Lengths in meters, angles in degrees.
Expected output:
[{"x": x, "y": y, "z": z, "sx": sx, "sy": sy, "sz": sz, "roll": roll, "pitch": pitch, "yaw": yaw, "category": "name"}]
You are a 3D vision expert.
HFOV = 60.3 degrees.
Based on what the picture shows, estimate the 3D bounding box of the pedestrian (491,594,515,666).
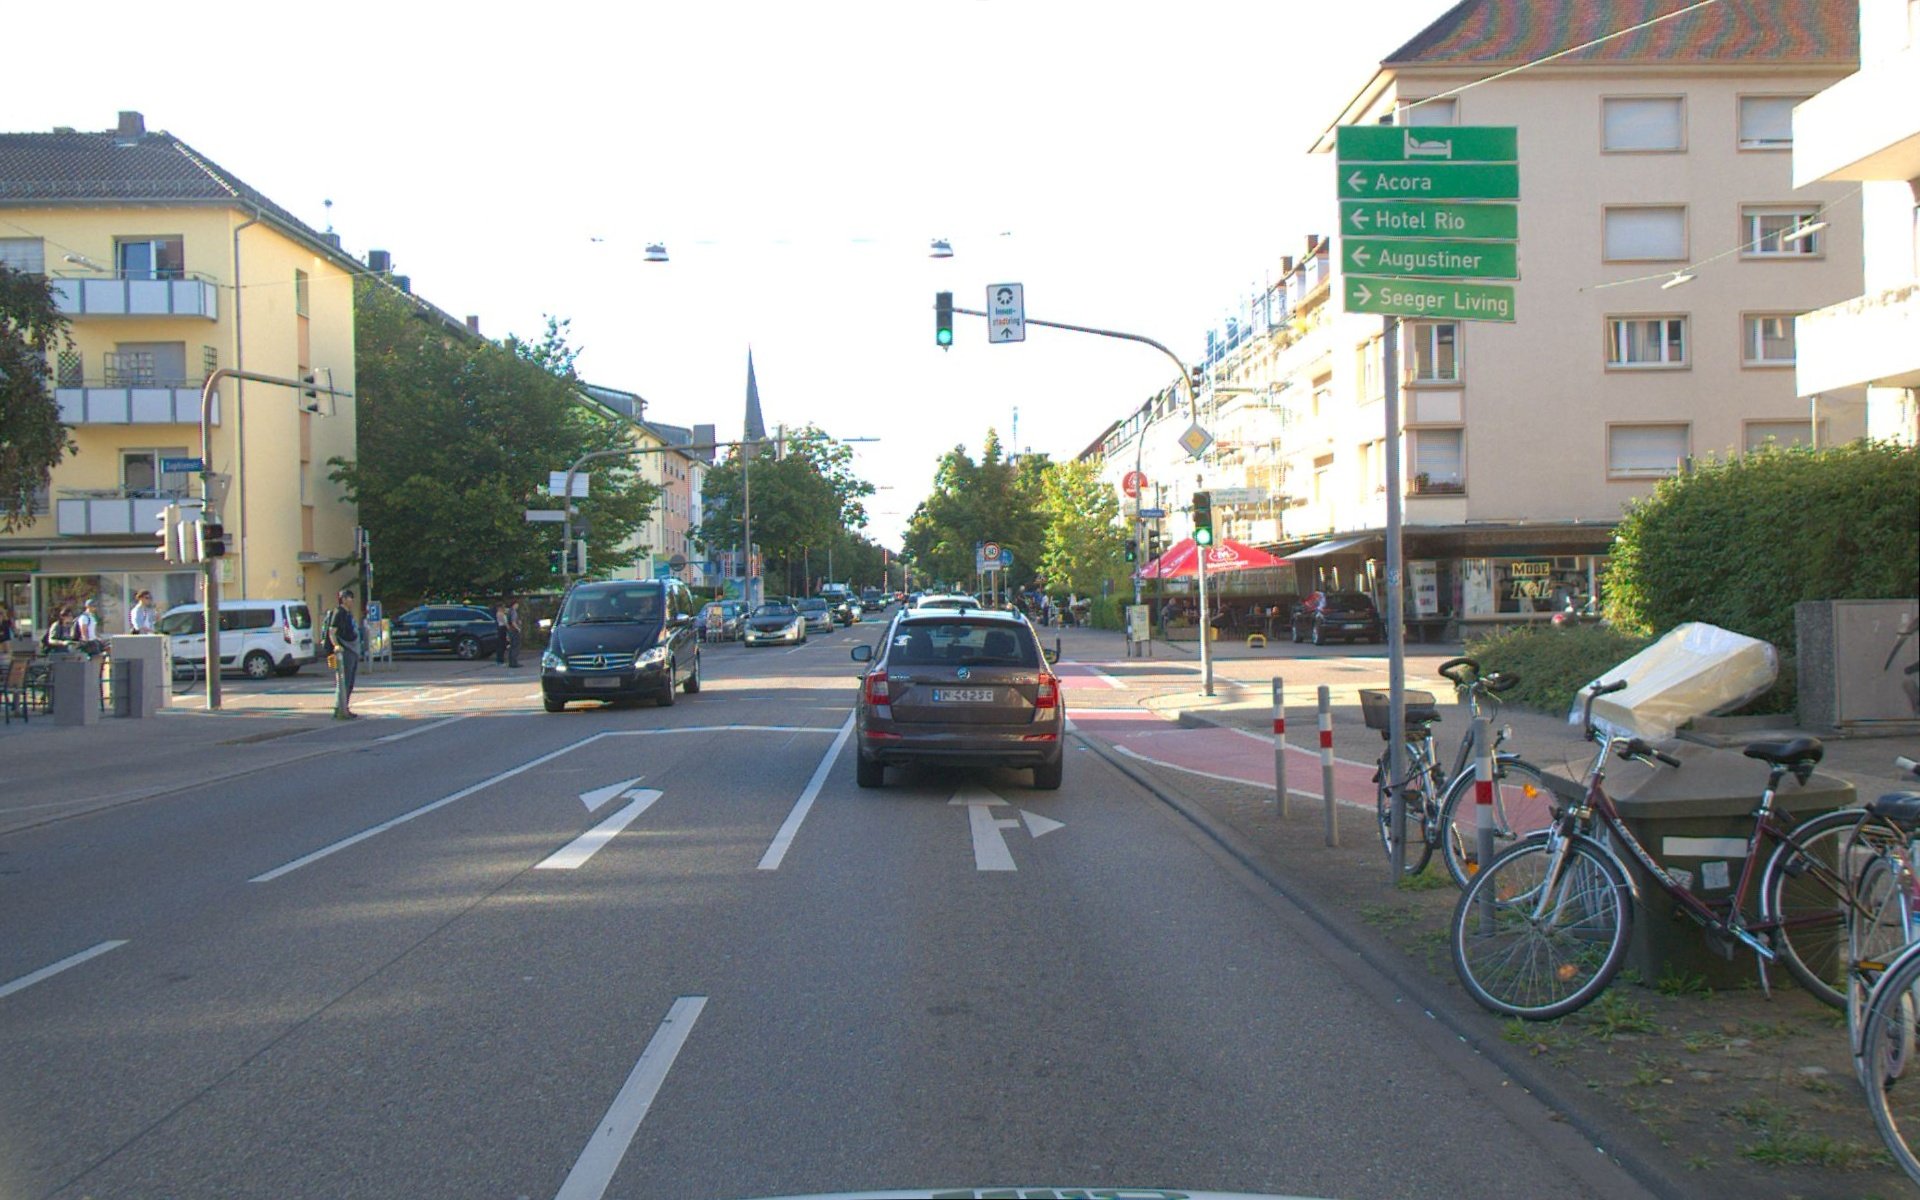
[{"x": -11.802, "y": 0.764, "z": 42.752, "sx": 0.440, "sy": 1.828, "sz": 0.504, "roll": -2, "pitch": 0, "yaw": -1, "category": "pedestrian"}]

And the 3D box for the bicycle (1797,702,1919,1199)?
[{"x": 2.706, "y": 0.873, "z": 4.576, "sx": 0.606, "sy": 1.069, "sz": 1.573, "roll": -1, "pitch": 0, "yaw": 24, "category": "bicycle"}]

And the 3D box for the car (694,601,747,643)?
[{"x": -8.882, "y": 0.790, "z": 61.478, "sx": 1.492, "sy": 1.482, "sz": 3.584, "roll": -1, "pitch": 0, "yaw": -1, "category": "car"}]

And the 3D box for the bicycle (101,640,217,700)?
[{"x": -15.479, "y": 1.346, "z": 31.993, "sx": 1.866, "sy": 1.090, "sz": 0.717, "roll": -1, "pitch": 0, "yaw": -11, "category": "bicycle"}]

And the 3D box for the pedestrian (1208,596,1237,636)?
[{"x": 8.121, "y": 0.494, "z": 51.166, "sx": 0.714, "sy": 1.219, "sz": 0.855, "roll": -1, "pitch": 0, "yaw": -1, "category": "pedestrian"}]

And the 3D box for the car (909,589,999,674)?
[{"x": -0.133, "y": 0.592, "z": 33.479, "sx": 1.701, "sy": 1.598, "sz": 3.999, "roll": 1, "pitch": 0, "yaw": -1, "category": "car"}]

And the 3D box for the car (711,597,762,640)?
[{"x": -9.009, "y": 0.737, "z": 66.981, "sx": 1.528, "sy": 1.646, "sz": 3.999, "roll": -1, "pitch": 0, "yaw": -1, "category": "car"}]

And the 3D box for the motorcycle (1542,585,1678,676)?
[{"x": 10.375, "y": 0.486, "z": 26.436, "sx": 1.874, "sy": 1.385, "sz": 0.694, "roll": -1, "pitch": 0, "yaw": 3, "category": "motorcycle"}]

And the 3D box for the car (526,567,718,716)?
[{"x": -5.027, "y": 0.571, "z": 25.310, "sx": 1.954, "sy": 1.942, "sz": 4.962, "roll": -3, "pitch": 0, "yaw": -2, "category": "car"}]

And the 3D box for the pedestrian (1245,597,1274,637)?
[{"x": 9.320, "y": 0.523, "z": 51.467, "sx": 0.714, "sy": 1.219, "sz": 0.855, "roll": -1, "pitch": 0, "yaw": -1, "category": "pedestrian"}]

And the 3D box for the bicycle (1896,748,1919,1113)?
[{"x": 2.746, "y": 0.812, "z": 3.052, "sx": 1.651, "sy": 1.126, "sz": 0.517, "roll": -4, "pitch": 0, "yaw": 5, "category": "bicycle"}]

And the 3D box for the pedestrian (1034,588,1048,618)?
[{"x": 4.324, "y": 0.149, "z": 88.266, "sx": 0.567, "sy": 1.590, "sz": 0.518, "roll": -1, "pitch": 0, "yaw": -11, "category": "pedestrian"}]

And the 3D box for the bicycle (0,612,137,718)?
[{"x": -15.364, "y": 1.098, "z": 28.435, "sx": 1.982, "sy": 1.736, "sz": 0.756, "roll": -1, "pitch": 0, "yaw": -4, "category": "bicycle"}]

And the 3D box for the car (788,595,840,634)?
[{"x": -6.406, "y": 0.614, "z": 72.793, "sx": 1.953, "sy": 1.639, "sz": 3.999, "roll": -1, "pitch": 0, "yaw": -1, "category": "car"}]

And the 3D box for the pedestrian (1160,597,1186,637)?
[{"x": 6.551, "y": 0.518, "z": 50.978, "sx": 0.664, "sy": 1.219, "sz": 0.855, "roll": -1, "pitch": 0, "yaw": -1, "category": "pedestrian"}]

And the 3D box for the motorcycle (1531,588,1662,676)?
[{"x": 10.501, "y": 0.518, "z": 27.331, "sx": 1.874, "sy": 1.385, "sz": 0.694, "roll": -1, "pitch": 0, "yaw": 3, "category": "motorcycle"}]

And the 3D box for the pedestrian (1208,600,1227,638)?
[{"x": 8.119, "y": 0.590, "z": 52.169, "sx": 0.495, "sy": 1.197, "sz": 0.428, "roll": -1, "pitch": 0, "yaw": -2, "category": "pedestrian"}]

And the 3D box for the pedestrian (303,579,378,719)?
[{"x": -9.229, "y": 0.721, "z": 24.672, "sx": 0.764, "sy": 2.022, "sz": 0.821, "roll": -2, "pitch": 0, "yaw": -1, "category": "pedestrian"}]

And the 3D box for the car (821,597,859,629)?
[{"x": -6.250, "y": 0.645, "z": 86.393, "sx": 1.751, "sy": 1.598, "sz": 3.999, "roll": 1, "pitch": 0, "yaw": -1, "category": "car"}]

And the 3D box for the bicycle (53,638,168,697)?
[{"x": -16.835, "y": 1.329, "z": 32.812, "sx": 1.866, "sy": 1.090, "sz": 0.717, "roll": -1, "pitch": 0, "yaw": -11, "category": "bicycle"}]

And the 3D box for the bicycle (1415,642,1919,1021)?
[{"x": 2.666, "y": 0.810, "z": 6.009, "sx": 1.796, "sy": 1.177, "sz": 0.683, "roll": -4, "pitch": 0, "yaw": 5, "category": "bicycle"}]

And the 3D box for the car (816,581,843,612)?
[{"x": -10.859, "y": -0.303, "z": 138.038, "sx": 1.953, "sy": 2.521, "sz": 3.999, "roll": -1, "pitch": 0, "yaw": -2, "category": "car"}]

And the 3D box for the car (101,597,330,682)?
[{"x": -17.573, "y": 0.918, "z": 39.186, "sx": 4.541, "sy": 1.843, "sz": 1.861, "roll": -1, "pitch": 0, "yaw": -2, "category": "car"}]

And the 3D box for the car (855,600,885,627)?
[{"x": -5.511, "y": 0.807, "z": 101.731, "sx": 1.669, "sy": 1.577, "sz": 4.001, "roll": -1, "pitch": 0, "yaw": -1, "category": "car"}]

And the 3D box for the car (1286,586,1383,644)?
[{"x": 10.402, "y": 0.398, "z": 46.167, "sx": 1.740, "sy": 1.512, "sz": 3.999, "roll": -1, "pitch": 0, "yaw": -1, "category": "car"}]

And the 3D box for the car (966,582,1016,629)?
[{"x": 1.249, "y": 0.206, "z": 66.040, "sx": 1.952, "sy": 1.803, "sz": 4.001, "roll": 1, "pitch": 0, "yaw": 1, "category": "car"}]

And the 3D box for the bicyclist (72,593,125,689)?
[{"x": -17.064, "y": 0.801, "z": 32.768, "sx": 0.725, "sy": 1.855, "sz": 0.652, "roll": -1, "pitch": 0, "yaw": -10, "category": "bicyclist"}]

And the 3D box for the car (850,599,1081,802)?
[{"x": -0.027, "y": 0.750, "z": 14.594, "sx": 1.737, "sy": 1.515, "sz": 4.309, "roll": 0, "pitch": 0, "yaw": -2, "category": "car"}]

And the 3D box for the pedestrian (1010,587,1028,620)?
[{"x": 3.156, "y": 0.183, "z": 87.924, "sx": 0.661, "sy": 1.734, "sz": 0.800, "roll": -1, "pitch": 0, "yaw": 25, "category": "pedestrian"}]

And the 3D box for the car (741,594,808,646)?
[{"x": -6.088, "y": 0.629, "z": 54.640, "sx": 1.793, "sy": 1.607, "sz": 3.999, "roll": -2, "pitch": 0, "yaw": -1, "category": "car"}]

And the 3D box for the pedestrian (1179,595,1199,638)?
[{"x": 7.176, "y": 0.509, "z": 51.861, "sx": 0.489, "sy": 1.325, "sz": 0.506, "roll": -1, "pitch": 0, "yaw": -4, "category": "pedestrian"}]

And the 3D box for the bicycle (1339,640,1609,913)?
[{"x": 2.554, "y": 0.821, "z": 8.465, "sx": 0.492, "sy": 1.167, "sz": 1.956, "roll": -4, "pitch": 0, "yaw": -7, "category": "bicycle"}]

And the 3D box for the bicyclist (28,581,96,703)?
[{"x": -15.463, "y": 0.714, "z": 28.501, "sx": 0.711, "sy": 2.049, "sz": 0.843, "roll": -1, "pitch": 0, "yaw": -4, "category": "bicyclist"}]

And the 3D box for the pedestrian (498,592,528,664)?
[{"x": -11.446, "y": 0.713, "z": 42.364, "sx": 0.603, "sy": 1.828, "sz": 0.504, "roll": -2, "pitch": 0, "yaw": -1, "category": "pedestrian"}]

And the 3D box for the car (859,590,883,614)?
[{"x": -7.899, "y": 0.161, "z": 147.392, "sx": 1.953, "sy": 2.049, "sz": 3.999, "roll": -1, "pitch": 0, "yaw": -1, "category": "car"}]

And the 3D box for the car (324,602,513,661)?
[{"x": -14.771, "y": 0.849, "z": 45.283, "sx": 4.540, "sy": 1.562, "sz": 1.861, "roll": 0, "pitch": 0, "yaw": -2, "category": "car"}]

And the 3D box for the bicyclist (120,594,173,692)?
[{"x": -15.698, "y": 0.818, "z": 31.927, "sx": 0.725, "sy": 1.855, "sz": 0.652, "roll": -1, "pitch": 0, "yaw": -10, "category": "bicyclist"}]
